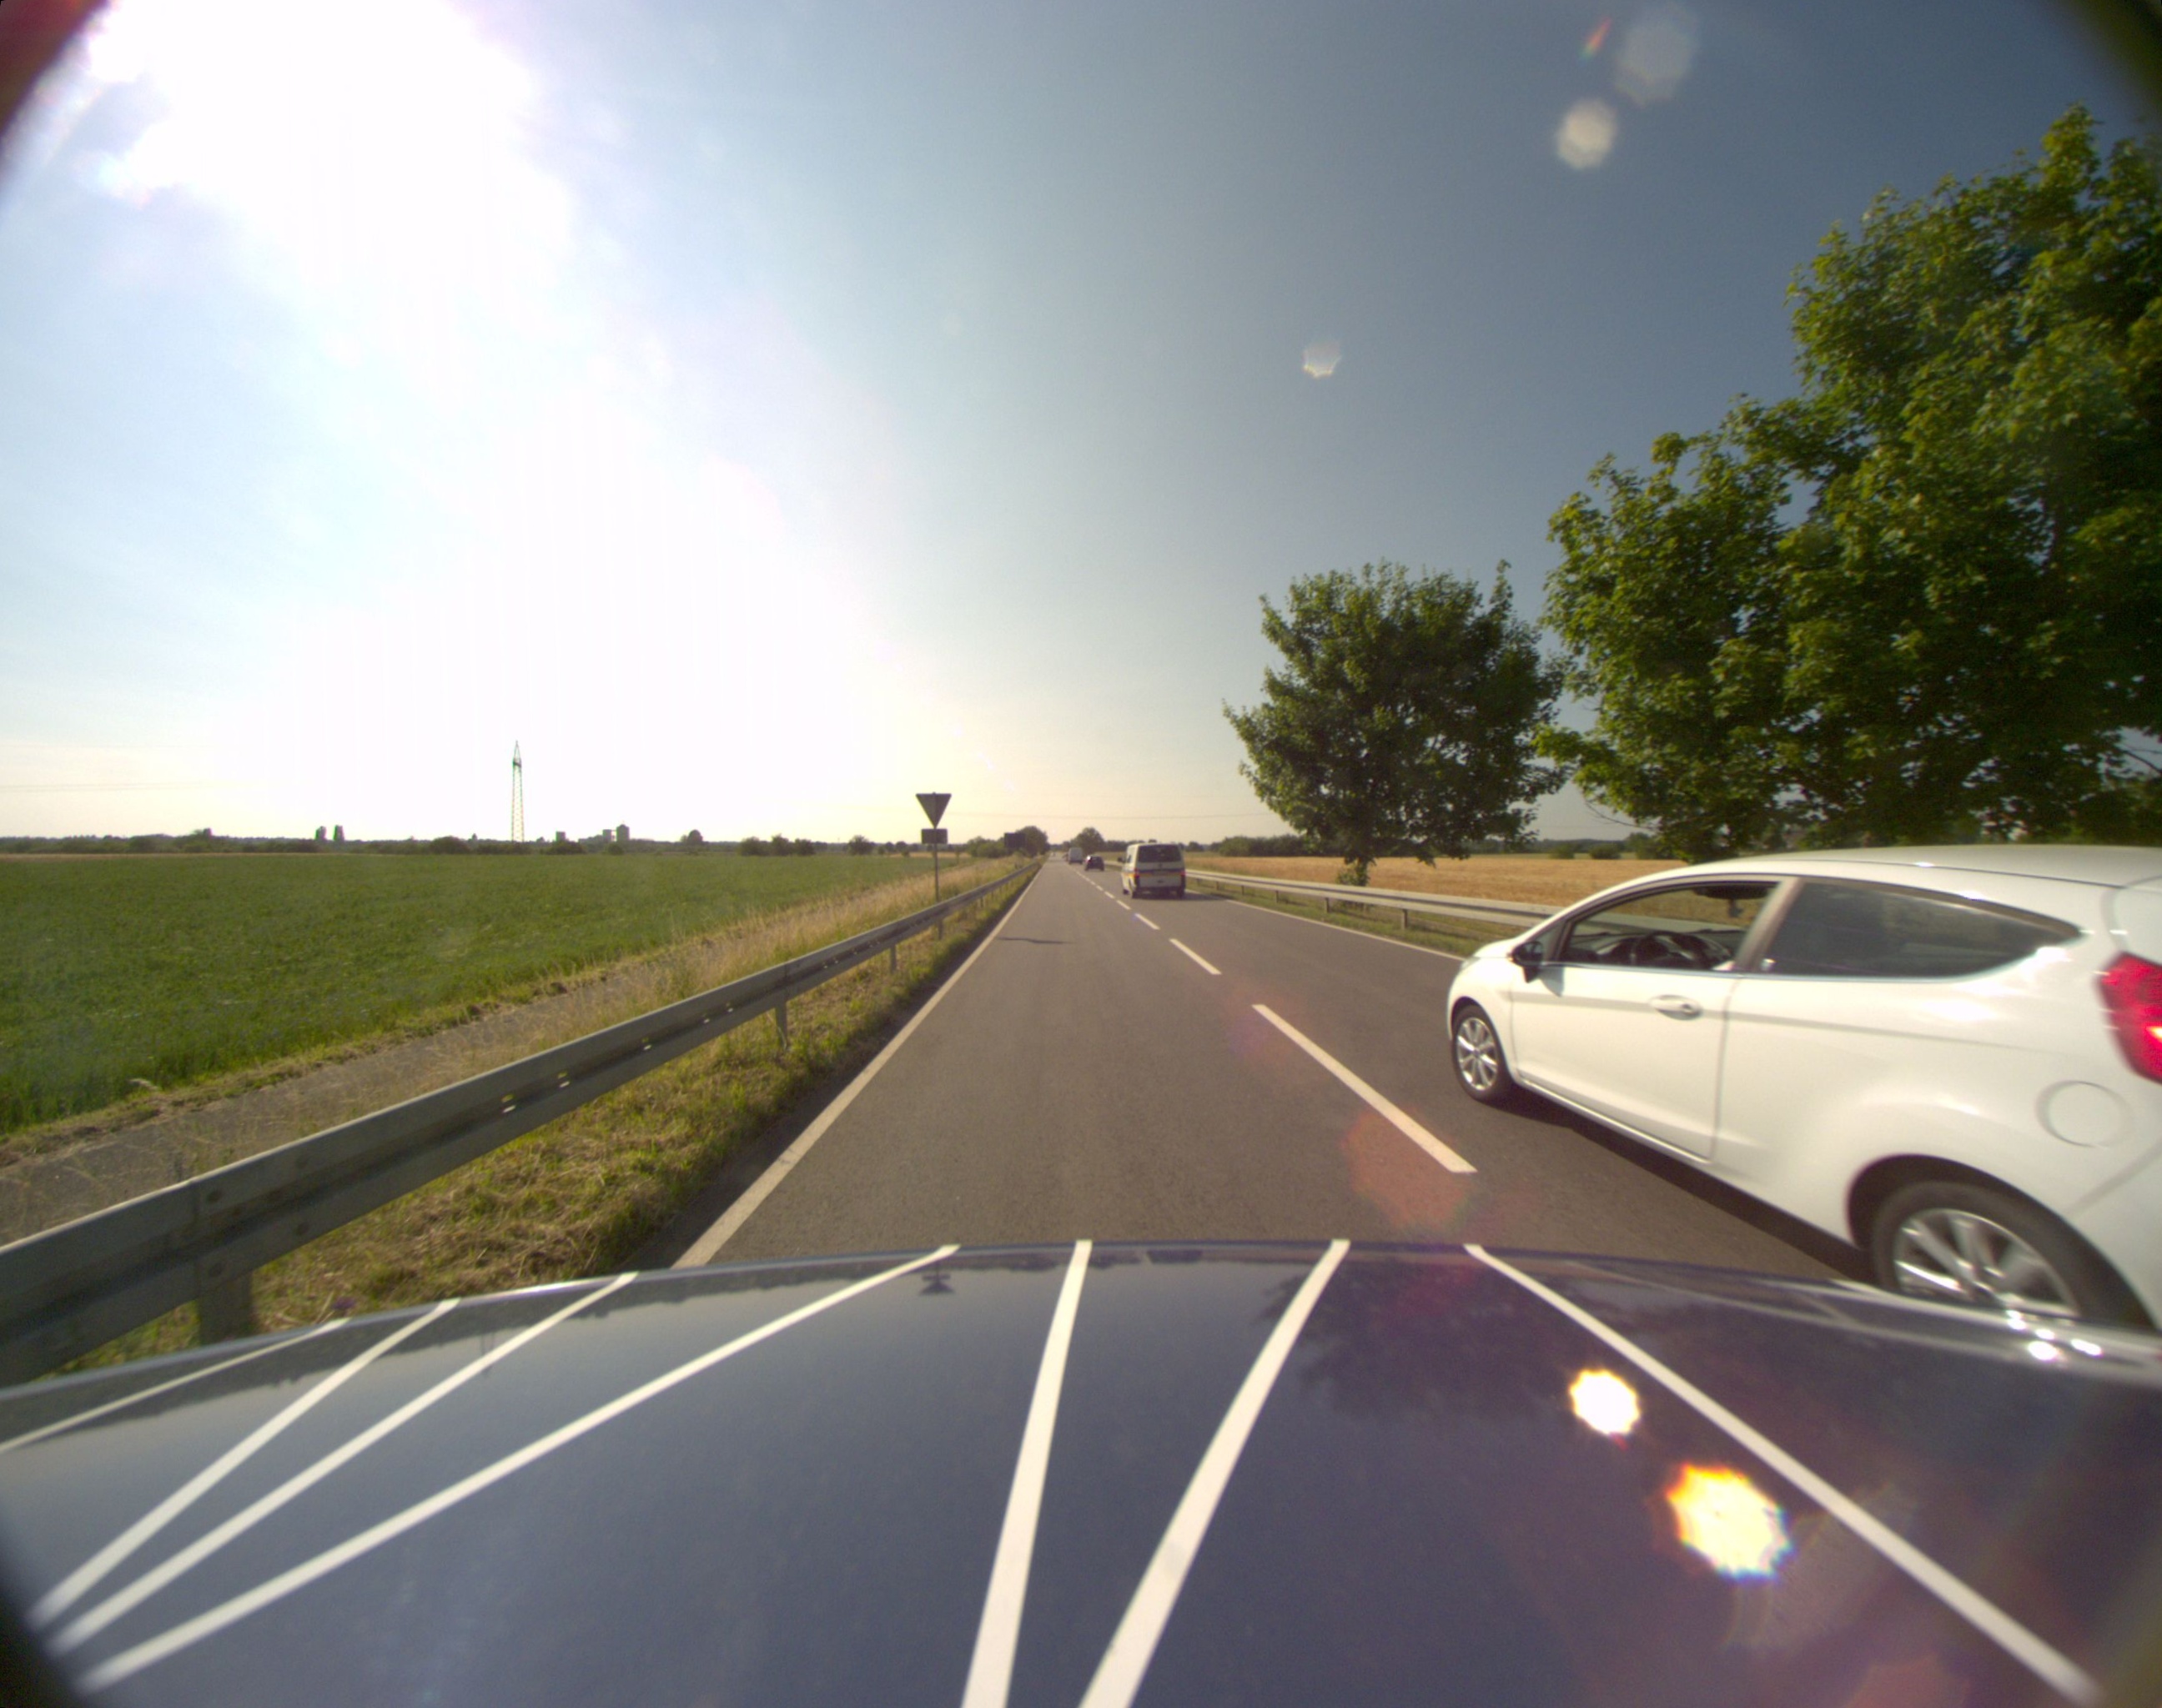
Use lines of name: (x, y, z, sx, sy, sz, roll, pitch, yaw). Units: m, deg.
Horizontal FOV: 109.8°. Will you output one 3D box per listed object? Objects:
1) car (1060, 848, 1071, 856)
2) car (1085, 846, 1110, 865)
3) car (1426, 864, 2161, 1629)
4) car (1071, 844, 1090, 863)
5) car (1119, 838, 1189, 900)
car: (-3.616, -0.366, 172.573, 2.405, 1.679, 5.372, 0, 2, -2)
car: (1.529, 0.090, 70.320, 2.014, 1.576, 4.825, 0, 2, -2)
car: (3.080, 0.826, 2.941, 1.756, 1.421, 3.846, -2, 1, 1)
car: (-0.130, -0.125, 111.041, 2.405, 2.561, 5.372, 0, 2, -3)
car: (2.570, 0.463, 27.831, 1.917, 2.002, 4.781, -2, 2, -1)
